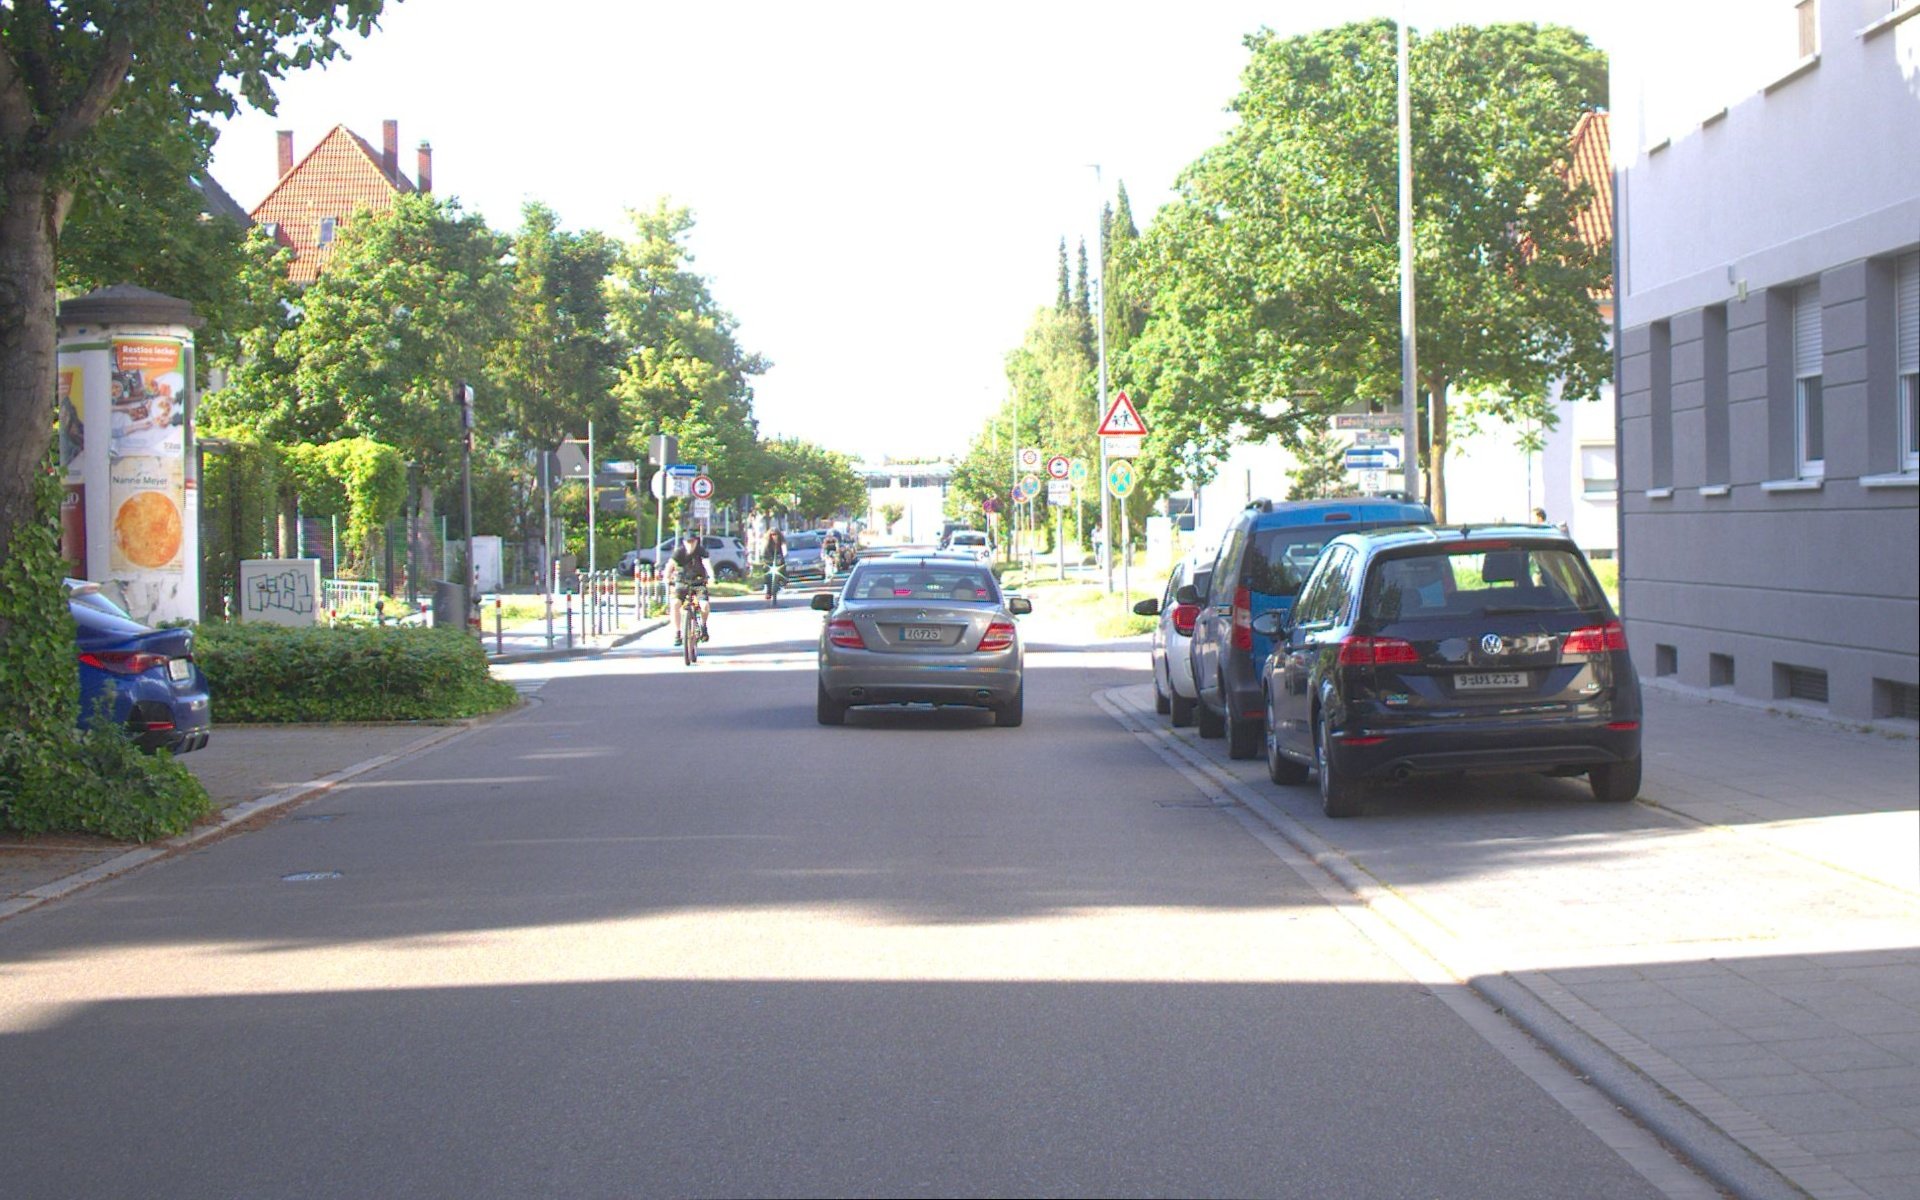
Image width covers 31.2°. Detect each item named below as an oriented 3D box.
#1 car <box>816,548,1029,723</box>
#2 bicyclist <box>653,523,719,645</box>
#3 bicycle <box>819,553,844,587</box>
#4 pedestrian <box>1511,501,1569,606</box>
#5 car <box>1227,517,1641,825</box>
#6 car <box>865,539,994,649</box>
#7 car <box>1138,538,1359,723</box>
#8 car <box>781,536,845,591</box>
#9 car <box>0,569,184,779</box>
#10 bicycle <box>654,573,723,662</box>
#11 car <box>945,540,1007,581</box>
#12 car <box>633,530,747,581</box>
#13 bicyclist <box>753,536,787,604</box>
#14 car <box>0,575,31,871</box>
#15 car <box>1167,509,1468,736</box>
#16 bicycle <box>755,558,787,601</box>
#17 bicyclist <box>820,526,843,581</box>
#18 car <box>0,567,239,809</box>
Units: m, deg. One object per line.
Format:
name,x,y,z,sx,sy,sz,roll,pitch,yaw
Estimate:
car,-0.296,0.295,30.385,1.726,1.415,3.960,1,0,0
bicyclist,-3.516,-0.213,44.195,0.721,1.531,1.137,-1,1,0
bicycle,-3.594,-0.846,96.112,0.589,0.928,1.850,-1,1,1
pedestrian,9.043,-0.721,53.579,0.647,1.617,0.616,0,1,38
car,2.666,0.344,20.242,1.737,1.526,4.179,-3,1,0
car,-0.449,-0.079,48.120,1.707,1.443,4.203,1,0,-1
car,2.486,0.254,30.318,1.564,1.406,3.729,-5,0,1
car,-4.821,-1.208,112.433,1.872,1.722,4.001,-1,1,-5
car,-7.499,0.502,24.427,3.579,1.425,1.730,0,1,-1
bicycle,-3.480,0.217,44.163,0.719,1.075,1.891,-1,1,0
car,0.513,-1.332,114.998,1.722,1.325,4.001,0,1,-5
car,-8.431,-1.394,107.254,3.493,1.528,1.645,-1,1,-7
bicyclist,-4.271,-0.680,77.249,0.680,1.504,0.655,-1,1,1
car,-7.007,0.603,16.762,4.473,1.474,1.869,0,0,-2
car,2.608,0.161,25.953,1.682,1.430,4.266,-5,0,0
bicycle,-4.247,-0.466,77.268,0.589,0.928,1.850,-1,1,1
bicyclist,-3.597,-1.302,96.112,0.572,1.504,0.655,-1,1,1
car,-7.008,0.534,21.896,4.473,1.474,1.869,0,0,-2
